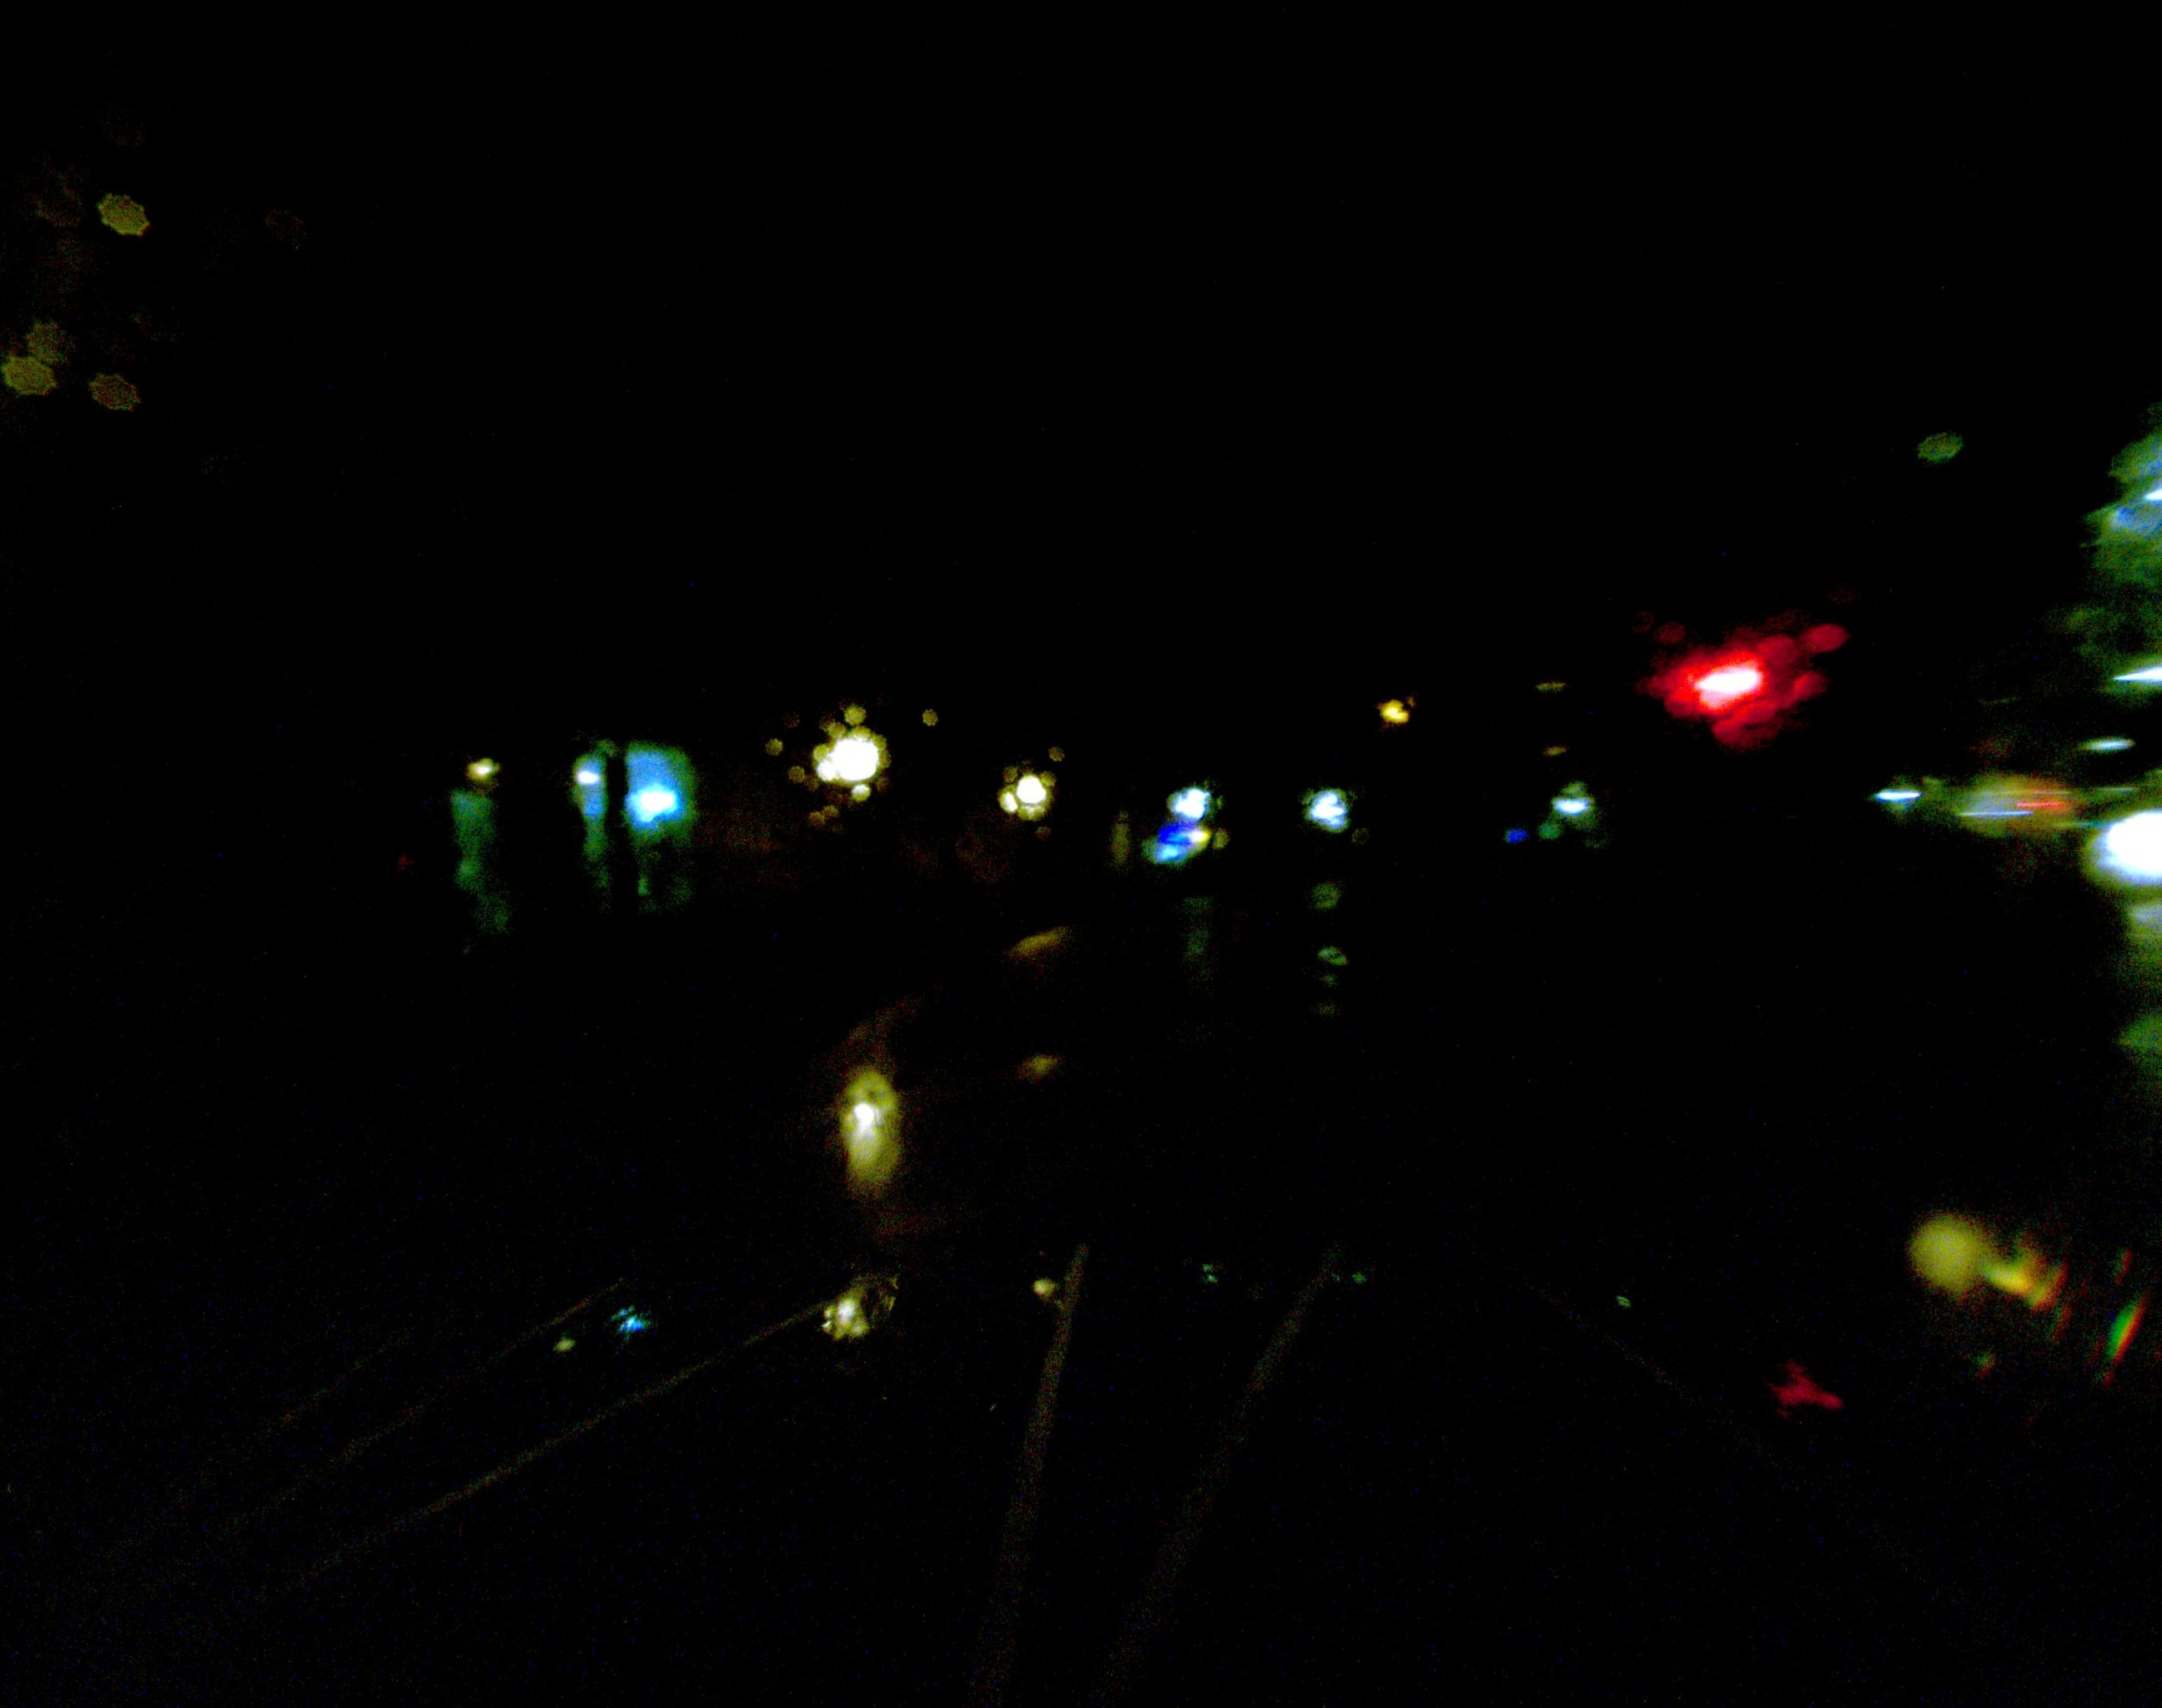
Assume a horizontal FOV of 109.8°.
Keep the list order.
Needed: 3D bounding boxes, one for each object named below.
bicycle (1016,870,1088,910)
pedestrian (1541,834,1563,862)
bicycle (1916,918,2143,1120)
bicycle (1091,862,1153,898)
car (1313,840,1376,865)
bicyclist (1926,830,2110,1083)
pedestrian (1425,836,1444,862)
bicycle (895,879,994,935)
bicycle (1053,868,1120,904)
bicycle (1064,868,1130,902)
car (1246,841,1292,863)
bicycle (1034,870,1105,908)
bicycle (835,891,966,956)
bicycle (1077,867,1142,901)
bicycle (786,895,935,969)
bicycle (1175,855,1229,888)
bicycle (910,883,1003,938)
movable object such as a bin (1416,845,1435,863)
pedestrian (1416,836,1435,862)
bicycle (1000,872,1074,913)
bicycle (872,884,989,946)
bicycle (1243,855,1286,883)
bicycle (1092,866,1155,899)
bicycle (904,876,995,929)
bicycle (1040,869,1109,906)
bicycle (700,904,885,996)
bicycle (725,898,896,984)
[{"bbox_3d":[-0.810,0.963,20.705,1.969,1.028,0.643,-1,2,36],"label":"bicycle"},{"bbox_3d":[26.424,-0.328,42.621,0.635,1.484,0.766,-4,0,-33],"label":"pedestrian"},{"bbox_3d":[6.259,0.995,5.117,0.571,0.963,1.784,-4,0,40],"label":"bicycle"},{"bbox_3d":[1.358,0.840,25.180,1.927,1.108,0.732,-1,2,36],"label":"bicycle"},{"bbox_3d":[18.887,-0.087,54.669,1.890,1.584,4.490,-4,1,-17],"label":"car"},{"bbox_3d":[6.240,0.628,5.109,0.571,1.538,0.817,-3,0,40],"label":"bicyclist"},{"bbox_3d":[22.949,-0.351,49.402,0.634,1.628,0.842,-4,0,-15],"label":"pedestrian"},{"bbox_3d":[-2.817,1.096,15.813,1.975,1.047,0.642,-1,1,-8],"label":"bicycle"},{"bbox_3d":[0.148,0.939,22.536,1.969,1.001,0.643,-1,2,36],"label":"bicycle"},{"bbox_3d":[0.475,0.928,23.210,1.969,1.001,0.643,-1,2,36],"label":"bicycle"},{"bbox_3d":[16.005,-0.164,64.789,1.882,1.694,4.281,-4,1,-15],"label":"car"},{"bbox_3d":[-0.332,0.956,21.283,1.969,1.001,0.643,-1,2,36],"label":"bicycle"},{"bbox_3d":[-2.965,1.139,12.547,1.972,1.001,0.642,-1,1,7],"label":"bicycle"},{"bbox_3d":[0.889,0.921,23.797,1.969,1.001,0.689,-1,2,36],"label":"bicycle"},{"bbox_3d":[-3.216,1.138,11.163,1.972,1.001,0.642,-1,1,7],"label":"bicycle"},{"bbox_3d":[4.591,0.656,28.941,1.869,1.210,0.732,-1,2,36],"label":"bicycle"},{"bbox_3d":[-2.555,1.122,15.504,1.969,1.001,0.643,-1,2,36],"label":"bicycle"},{"bbox_3d":[22.785,0.018,50.225,0.634,1.109,0.922,-4,0,-15],"label":"movable object such as a bin"},{"bbox_3d":[22.296,-0.315,49.228,0.634,1.628,0.873,-4,0,-15],"label":"pedestrian"},{"bbox_3d":[-1.171,0.985,20.098,1.969,1.001,0.643,-1,2,36],"label":"bicycle"},{"bbox_3d":[-2.743,1.107,13.956,1.972,1.059,0.642,-1,1,7],"label":"bicycle"},{"bbox_3d":[7.582,0.618,31.413,1.620,1.076,0.565,-2,3,35],"label":"bicycle"},{"bbox_3d":[1.366,0.907,24.515,1.927,0.982,0.732,-1,2,36],"label":"bicycle"},{"bbox_3d":[-2.902,1.066,16.856,1.823,1.081,0.721,-1,1,8],"label":"bicycle"},{"bbox_3d":[-0.193,0.949,21.978,1.969,1.001,0.643,-1,2,36],"label":"bicycle"},{"bbox_3d":[-3.440,1.141,9.125,1.972,1.001,0.642,-1,1,7],"label":"bicycle"},{"bbox_3d":[-3.484,1.120,9.857,1.972,1.029,0.642,-1,1,7],"label":"bicycle"}]
